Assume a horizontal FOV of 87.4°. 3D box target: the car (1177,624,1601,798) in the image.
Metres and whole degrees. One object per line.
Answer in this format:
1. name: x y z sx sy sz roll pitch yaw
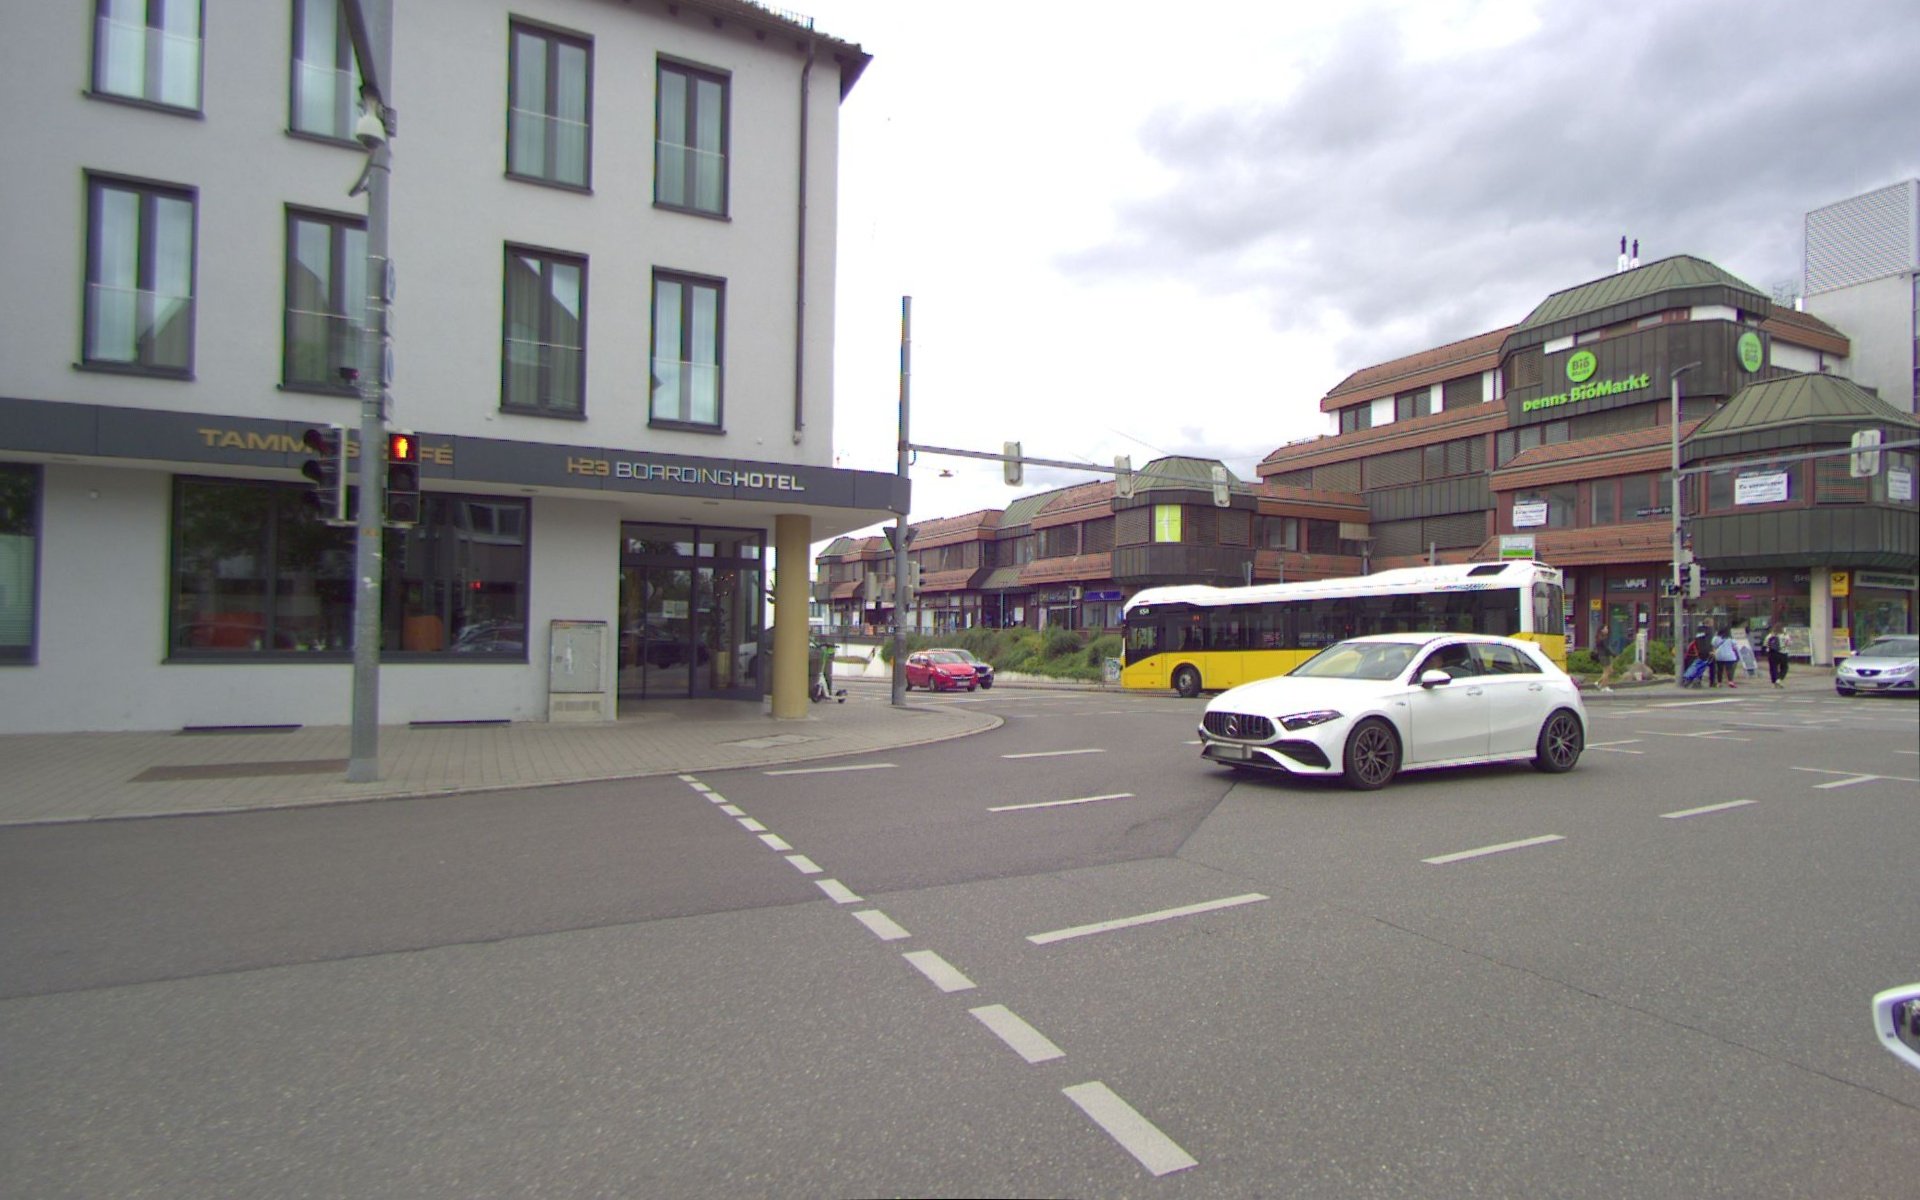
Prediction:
1. car: 4.428 0.994 10.285 4.180 1.478 1.738 1 -2 -27

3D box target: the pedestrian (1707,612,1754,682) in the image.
1. pedestrian: 20.722 1.259 27.011 0.767 1.832 0.805 1 0 -34

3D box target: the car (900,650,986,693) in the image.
1. car: -0.680 2.600 36.839 1.790 1.505 3.978 2 -4 -24

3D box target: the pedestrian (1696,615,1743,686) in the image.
1. pedestrian: 20.057 1.311 26.530 0.738 1.832 0.805 1 0 -34

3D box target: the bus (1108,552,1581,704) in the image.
1. bus: 9.817 0.976 27.816 2.976 3.370 12.154 2 -4 -43

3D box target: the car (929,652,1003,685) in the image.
1. car: 0.202 2.845 41.763 1.777 1.295 3.496 2 -4 -25

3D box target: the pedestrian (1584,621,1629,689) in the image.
1. pedestrian: 16.838 1.412 26.161 0.803 1.736 0.697 0 0 -29

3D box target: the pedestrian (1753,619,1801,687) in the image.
1. pedestrian: 21.156 1.364 26.005 0.768 1.715 0.745 1 -1 -30

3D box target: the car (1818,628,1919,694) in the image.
1. car: 22.791 1.414 24.096 4.138 1.437 1.632 -1 -2 -23

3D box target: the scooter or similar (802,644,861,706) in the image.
1. scooter or similar: -2.558 1.504 20.161 0.418 1.173 1.574 0 -4 23
